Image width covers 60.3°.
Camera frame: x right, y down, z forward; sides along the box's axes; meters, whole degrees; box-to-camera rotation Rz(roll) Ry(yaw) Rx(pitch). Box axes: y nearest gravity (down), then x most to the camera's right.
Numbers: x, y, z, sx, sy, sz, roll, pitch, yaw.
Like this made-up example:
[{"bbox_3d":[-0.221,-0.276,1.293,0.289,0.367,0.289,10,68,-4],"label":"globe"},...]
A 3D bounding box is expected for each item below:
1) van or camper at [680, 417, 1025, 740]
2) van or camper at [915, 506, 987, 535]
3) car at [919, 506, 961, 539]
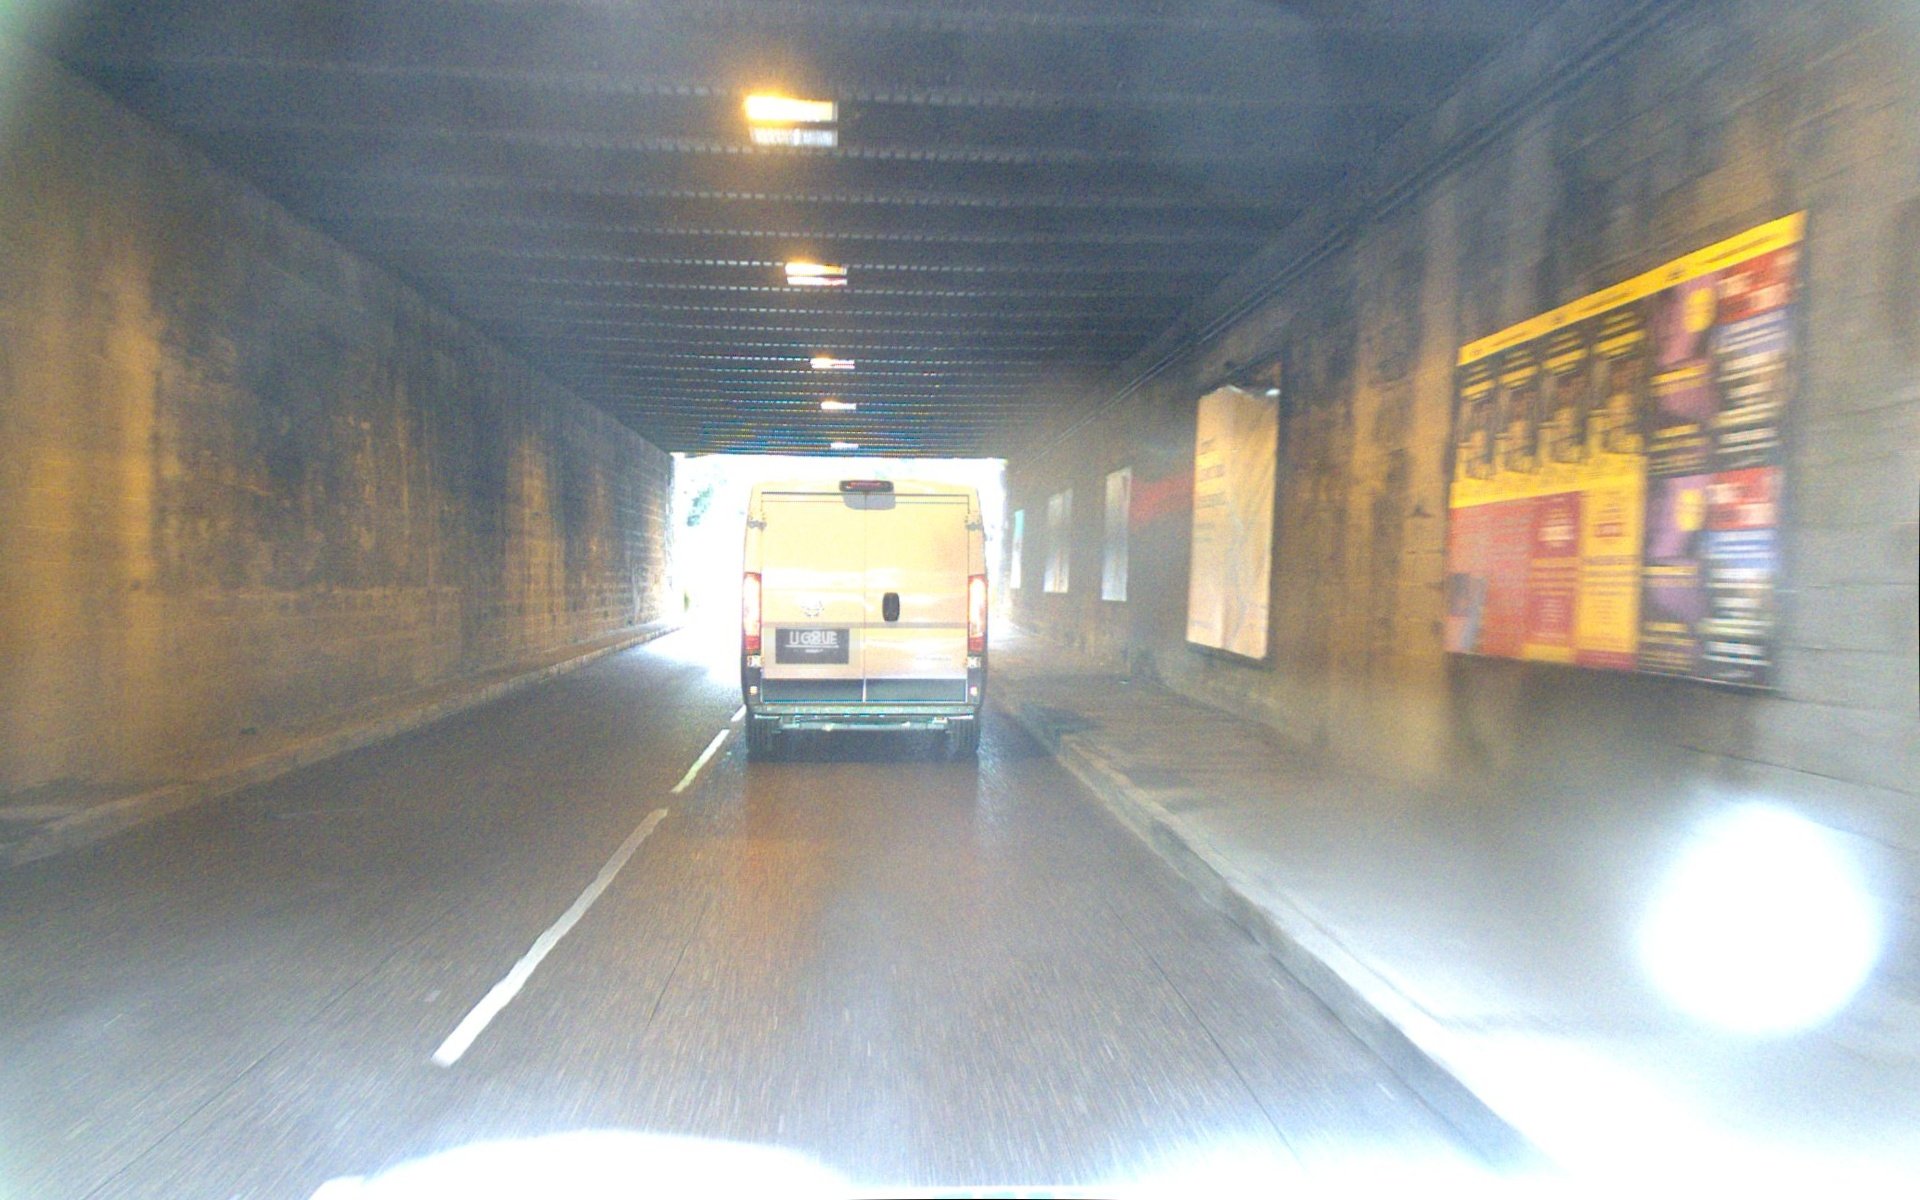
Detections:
[{"bbox_3d":[-0.982,-0.150,15.143,2.645,2.459,4.899,0,0,-4],"label":"van or camper"},{"bbox_3d":[-0.628,-5.844,121.961,5.198,2.048,2.079,0,2,2],"label":"van or camper"},{"bbox_3d":[-1.260,-4.766,102.715,1.957,1.981,3.991,0,2,-10],"label":"car"}]
